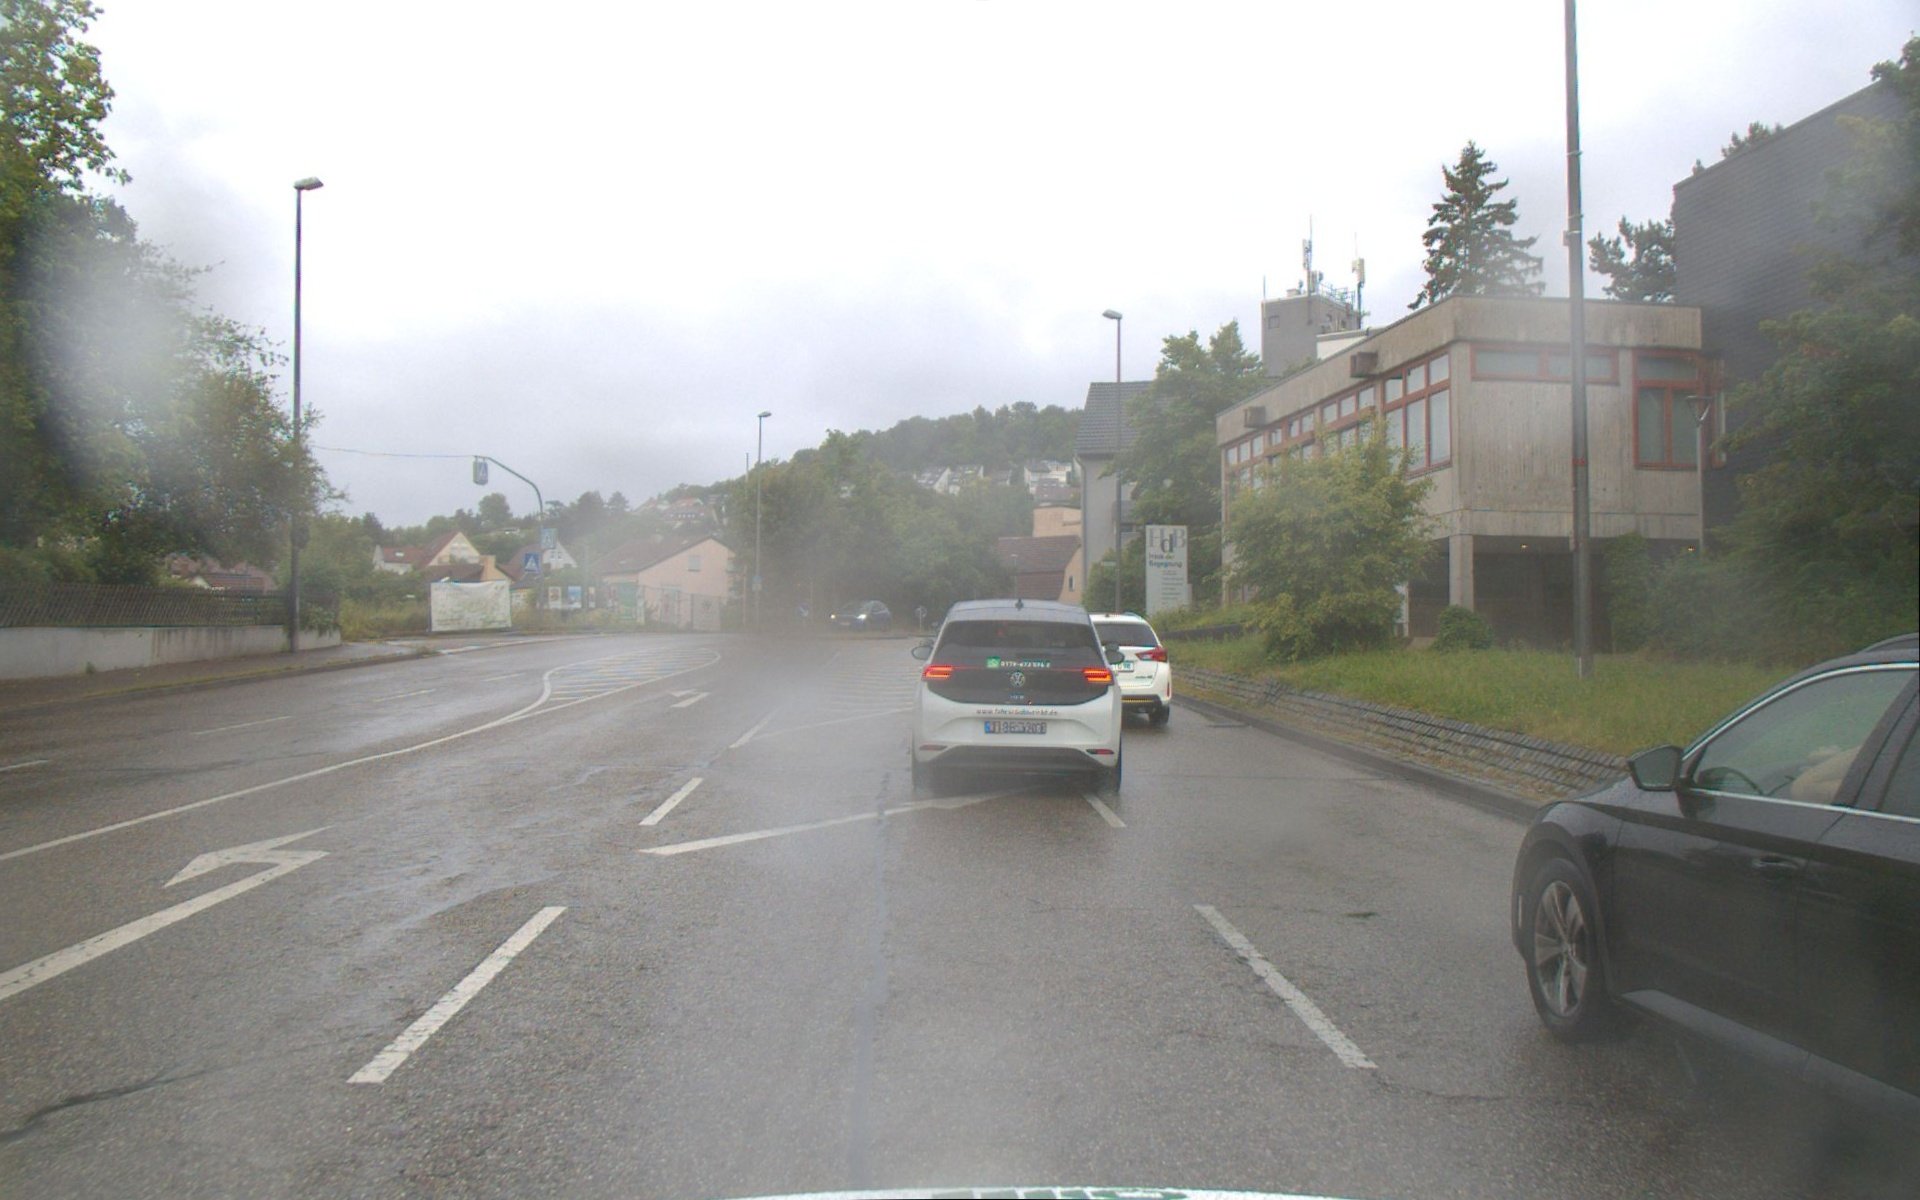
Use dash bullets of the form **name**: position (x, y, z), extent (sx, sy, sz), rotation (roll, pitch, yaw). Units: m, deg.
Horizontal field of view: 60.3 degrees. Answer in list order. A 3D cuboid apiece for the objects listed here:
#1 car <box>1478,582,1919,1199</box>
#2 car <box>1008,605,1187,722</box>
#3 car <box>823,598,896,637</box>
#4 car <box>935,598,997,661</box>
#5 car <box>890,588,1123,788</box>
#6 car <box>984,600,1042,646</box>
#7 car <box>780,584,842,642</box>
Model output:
- **car**: position (3.136, 0.778, 4.270), extent (1.915, 1.534, 4.605), rotation (3, -1, -3)
- **car**: position (1.798, 0.840, 22.899), extent (1.812, 1.434, 4.297), rotation (1, -1, -4)
- **car**: position (-4.770, 0.853, 79.392), extent (1.951, 1.723, 4.707), rotation (1, -1, 17)
- **car**: position (0.128, 0.744, 42.965), extent (1.535, 1.557, 3.999), rotation (0, 0, -1)
- **car**: position (0.421, 0.727, 14.932), extent (1.791, 1.526, 4.169), rotation (1, -1, 2)
- **car**: position (1.867, 0.829, 58.636), extent (1.952, 1.478, 3.771), rotation (-2, -1, 2)
- **car**: position (-5.599, 0.528, 62.472), extent (1.953, 2.049, 3.999), rotation (1, -1, 0)
